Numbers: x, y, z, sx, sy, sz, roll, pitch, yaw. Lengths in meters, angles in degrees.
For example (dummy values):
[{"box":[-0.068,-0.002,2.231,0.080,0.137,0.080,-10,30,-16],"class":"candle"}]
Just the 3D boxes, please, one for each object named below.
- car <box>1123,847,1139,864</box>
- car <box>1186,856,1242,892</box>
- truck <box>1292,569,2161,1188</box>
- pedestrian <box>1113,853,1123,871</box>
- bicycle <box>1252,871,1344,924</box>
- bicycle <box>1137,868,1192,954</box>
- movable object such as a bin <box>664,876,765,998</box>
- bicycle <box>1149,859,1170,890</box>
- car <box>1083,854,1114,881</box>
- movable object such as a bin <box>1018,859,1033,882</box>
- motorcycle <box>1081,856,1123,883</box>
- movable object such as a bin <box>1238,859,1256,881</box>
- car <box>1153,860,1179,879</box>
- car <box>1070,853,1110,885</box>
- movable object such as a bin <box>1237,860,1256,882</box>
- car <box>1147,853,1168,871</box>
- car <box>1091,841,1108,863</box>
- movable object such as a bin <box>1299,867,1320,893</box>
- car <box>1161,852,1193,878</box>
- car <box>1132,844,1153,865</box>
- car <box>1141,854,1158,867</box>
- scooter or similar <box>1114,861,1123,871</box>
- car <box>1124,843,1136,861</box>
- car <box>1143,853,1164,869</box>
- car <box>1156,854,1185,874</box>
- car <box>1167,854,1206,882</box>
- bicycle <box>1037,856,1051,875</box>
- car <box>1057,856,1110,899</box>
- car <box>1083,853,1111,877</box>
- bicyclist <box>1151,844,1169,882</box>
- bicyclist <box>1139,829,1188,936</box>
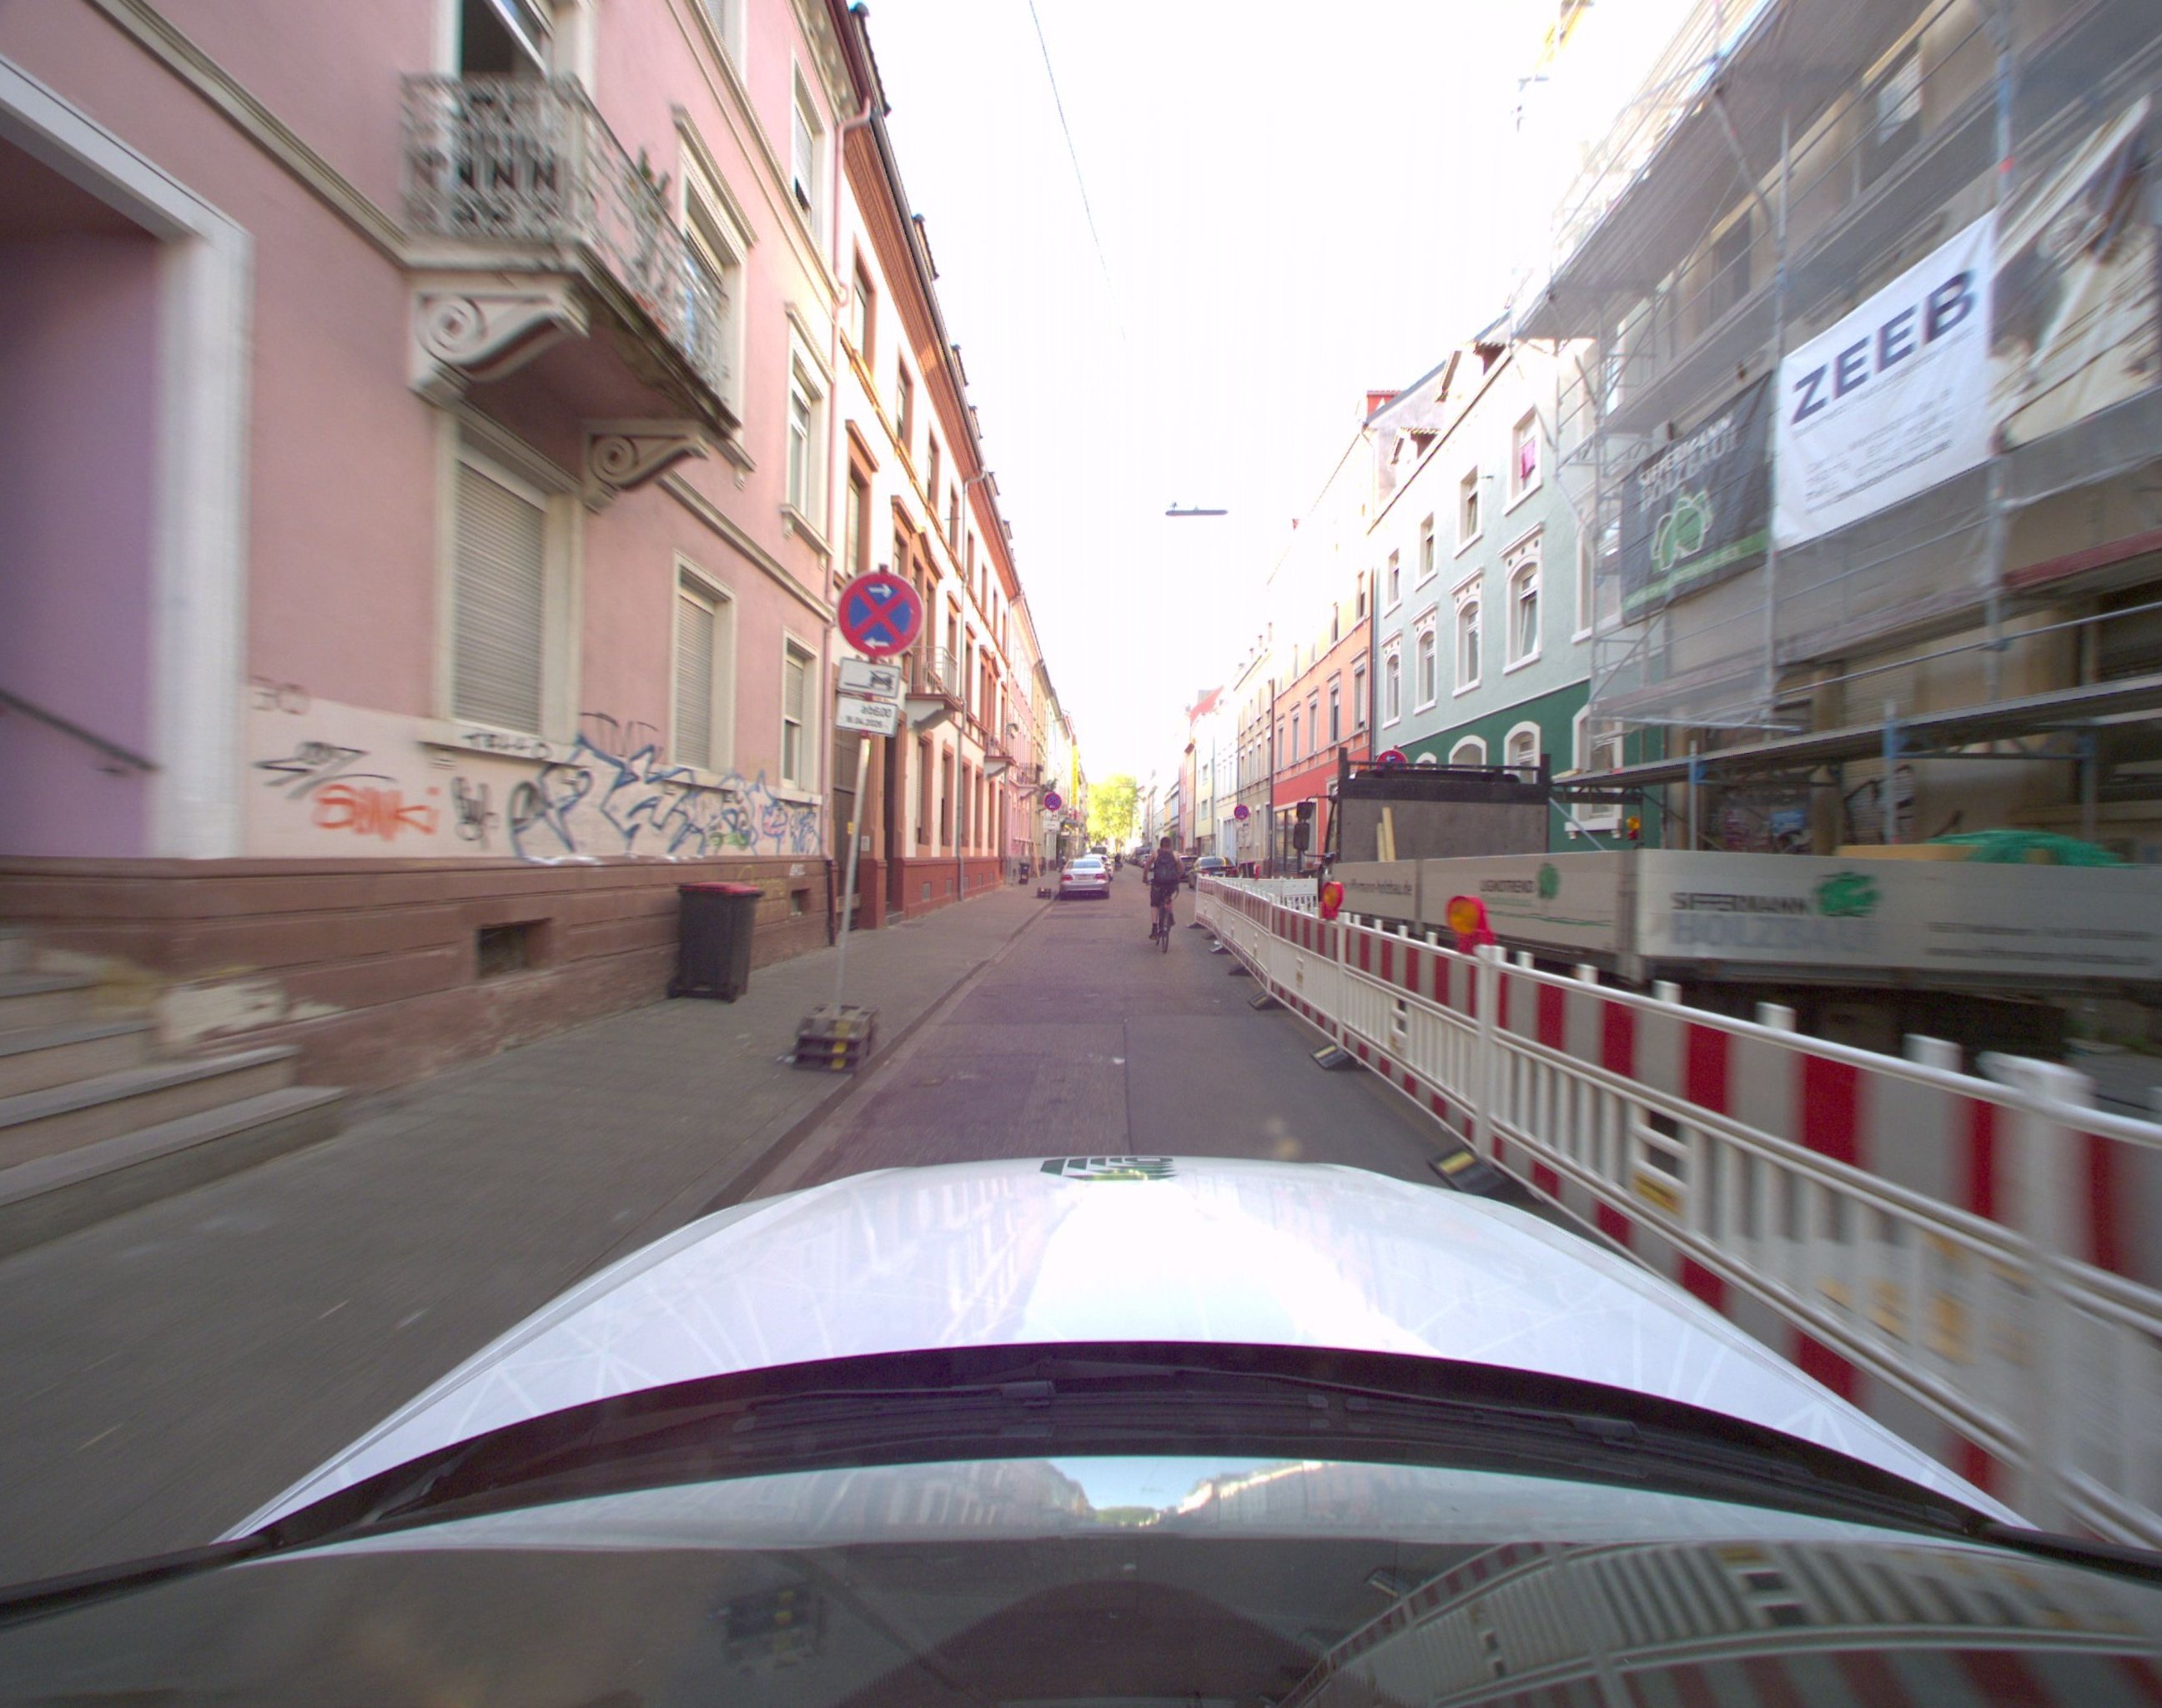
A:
[{"box":[8.047,0.271,130.583,2.299,2.538,6.771,-1,0,1],"class":"car"},{"box":[5.845,0.853,36.212,1.810,1.438,4.792,-1,0,1],"class":"car"},{"box":[4.140,0.130,7.504,2.651,2.814,7.396,2,0,2],"class":"truck"},{"box":[3.207,0.694,70.185,0.768,1.578,0.900,2,-1,0],"class":"pedestrian"},{"box":[4.843,0.961,18.203,1.847,1.110,0.642,2,-1,-6],"class":"bicycle"},{"box":[1.303,0.853,13.067,0.699,1.208,2.343,1,0,2],"class":"bicycle"},{"box":[-3.332,0.735,7.441,0.603,1.035,0.596,2,-1,0],"class":"movable object such as a bin"},{"box":[3.374,0.866,35.084,0.699,1.208,2.343,0,1,1],"class":"bicycle"},{"box":[0.994,0.735,46.496,1.666,1.442,4.166,-1,0,1],"class":"car"},{"box":[-2.375,0.699,34.905,0.541,0.945,0.487,2,-1,2],"class":"movable object such as a bin"},{"box":[1.143,0.834,43.548,2.151,1.359,0.537,-2,1,-17],"class":"motorcycle"},{"box":[8.357,0.800,40.985,0.803,1.075,0.679,-2,-1,6],"class":"movable object such as a bin"},{"box":[6.551,1.199,63.191,1.704,1.383,4.001,-1,0,1],"class":"car"},{"box":[0.482,0.695,39.576,1.703,1.383,4.360,1,1,4],"class":"car"},{"box":[8.117,0.822,39.948,0.735,1.075,0.676,-2,-1,-5],"class":"movable object such as a bin"},{"box":[6.794,0.708,72.645,1.614,1.550,4.001,-1,0,1],"class":"car"},{"box":[2.133,-0.230,93.844,1.903,2.497,4.164,0,0,0],"class":"car"},{"box":[8.346,0.937,29.776,0.595,0.906,0.579,-2,-1,0],"class":"movable object such as a bin"},{"box":[6.181,0.712,52.749,1.704,1.556,4.001,-1,0,1],"class":"car"},{"box":[7.939,0.114,105.142,2.299,2.538,6.771,-1,0,1],"class":"car"},{"box":[7.513,0.715,89.628,1.704,1.447,4.001,-1,0,1],"class":"car"},{"box":[3.195,1.037,69.754,0.768,0.873,0.770,2,-1,0],"class":"scooter or similar"},{"box":[10.721,-0.408,177.947,2.299,3.768,6.771,-1,0,1],"class":"car"},{"box":[6.925,0.660,77.979,1.704,1.393,4.001,-1,0,1],"class":"car"},{"box":[6.330,0.700,57.809,1.704,1.383,4.001,-1,0,1],"class":"car"},{"box":[6.013,0.768,46.863,1.810,1.521,4.001,-1,0,1],"class":"car"},{"box":[-2.166,0.680,48.091,0.590,1.089,2.080,2,0,2],"class":"bicycle"},{"box":[0.138,0.797,29.148,1.704,1.383,4.507,-1,0,1],"class":"car"},{"box":[1.040,0.721,52.280,1.666,1.442,3.769,-1,0,1],"class":"car"},{"box":[3.378,0.373,35.036,0.699,1.605,0.813,0,1,1],"class":"bicyclist"},{"box":[1.298,0.444,13.005,0.699,1.633,1.090,1,-1,2],"class":"bicyclist"}]
